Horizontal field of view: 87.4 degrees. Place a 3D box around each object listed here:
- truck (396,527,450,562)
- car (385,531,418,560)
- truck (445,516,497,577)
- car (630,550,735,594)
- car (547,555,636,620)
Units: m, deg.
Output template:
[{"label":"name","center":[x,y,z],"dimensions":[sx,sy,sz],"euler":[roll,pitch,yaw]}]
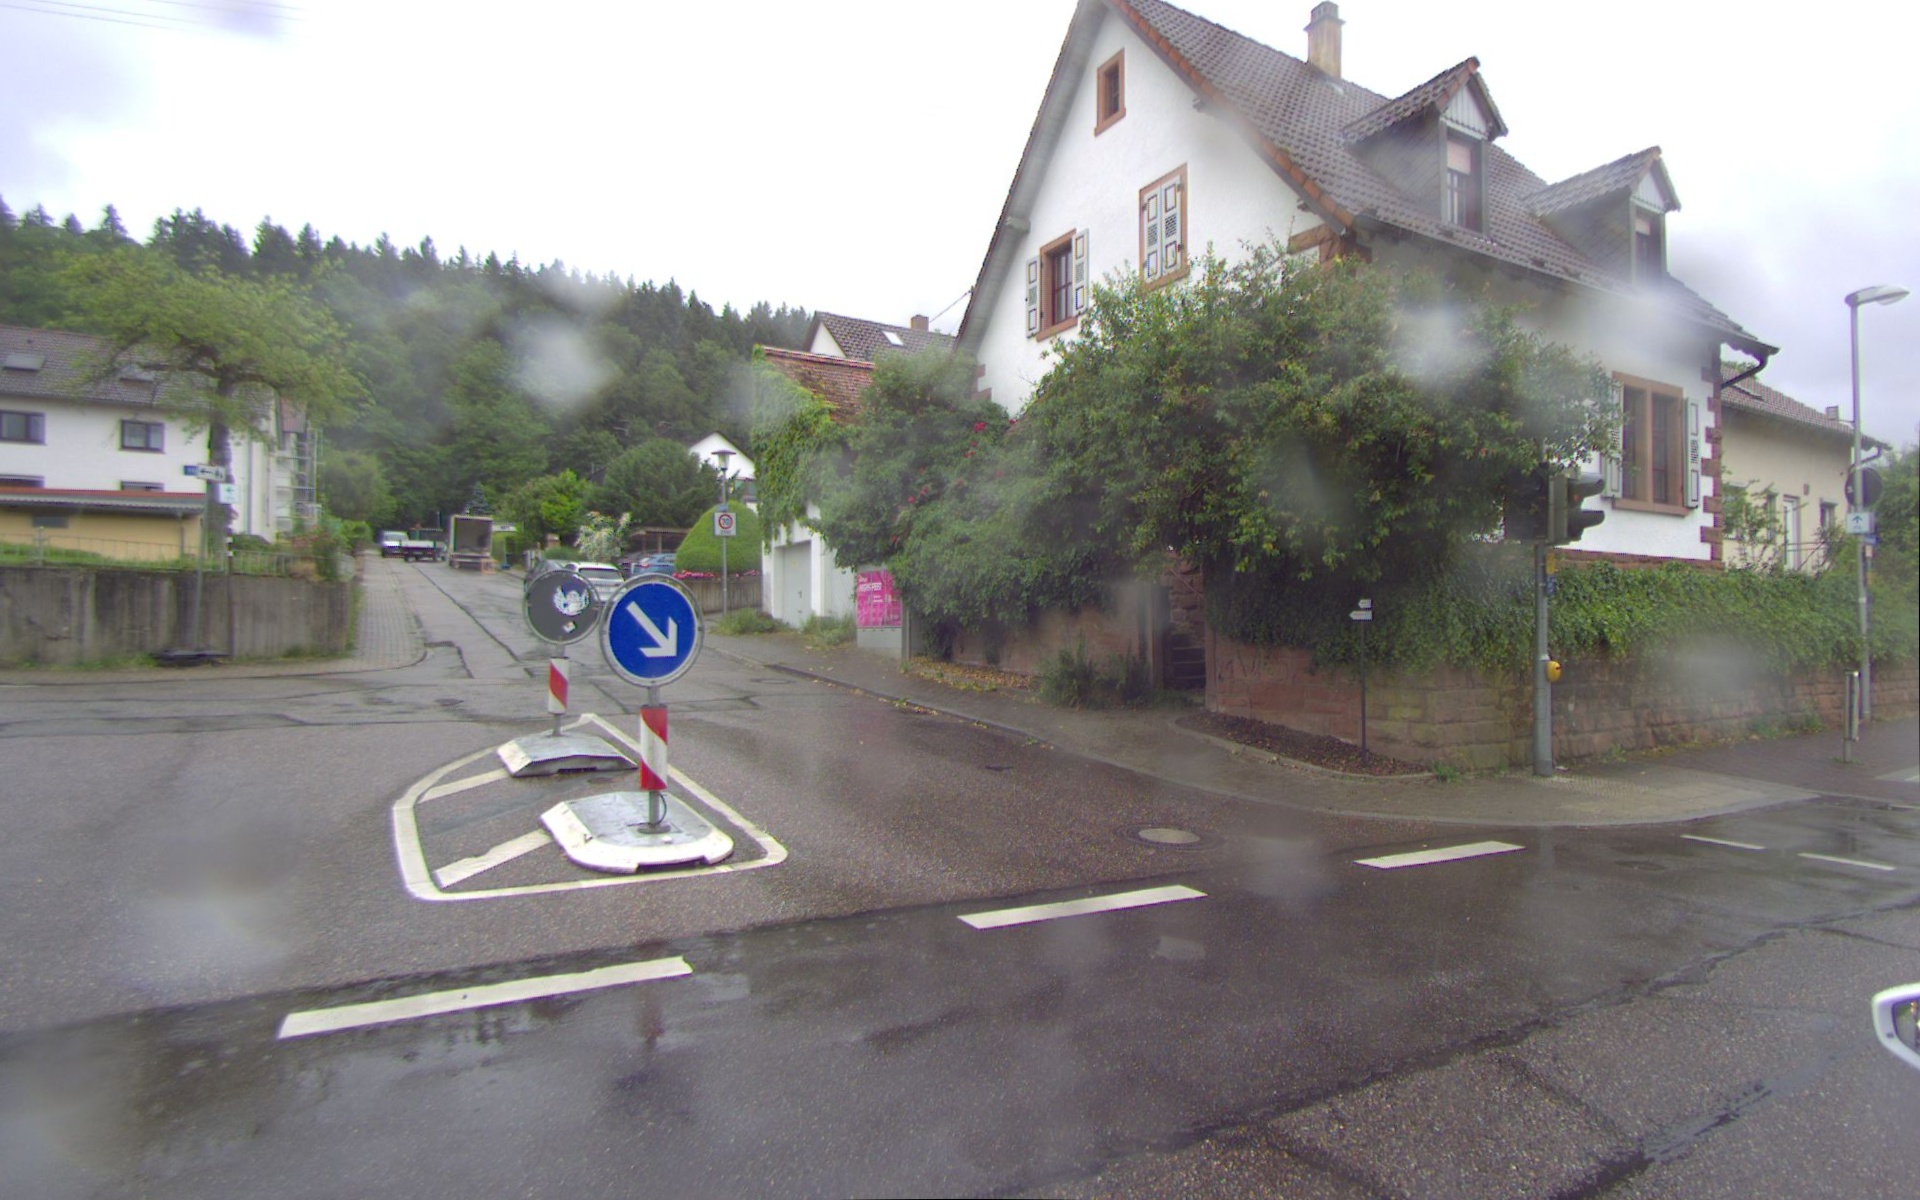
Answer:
[{"label":"truck","center":[-37.352,-3.788,70.018],"dimensions":[2.265,2.155,6.053],"euler":[2,1,-19]},{"label":"car","center":[-42.631,-4.127,76.606],"dimensions":[1.896,2.040,3.963],"euler":[2,1,-33]},{"label":"truck","center":[-29.455,-3.153,60.400],"dimensions":[2.424,3.397,6.606],"euler":[1,1,-29]},{"label":"car","center":[-11.640,-1.167,42.126],"dimensions":[3.846,1.535,1.884],"euler":[2,5,-31]},{"label":"car","center":[-11.023,-0.411,29.916],"dimensions":[1.878,1.535,3.860],"euler":[2,5,-29]}]
